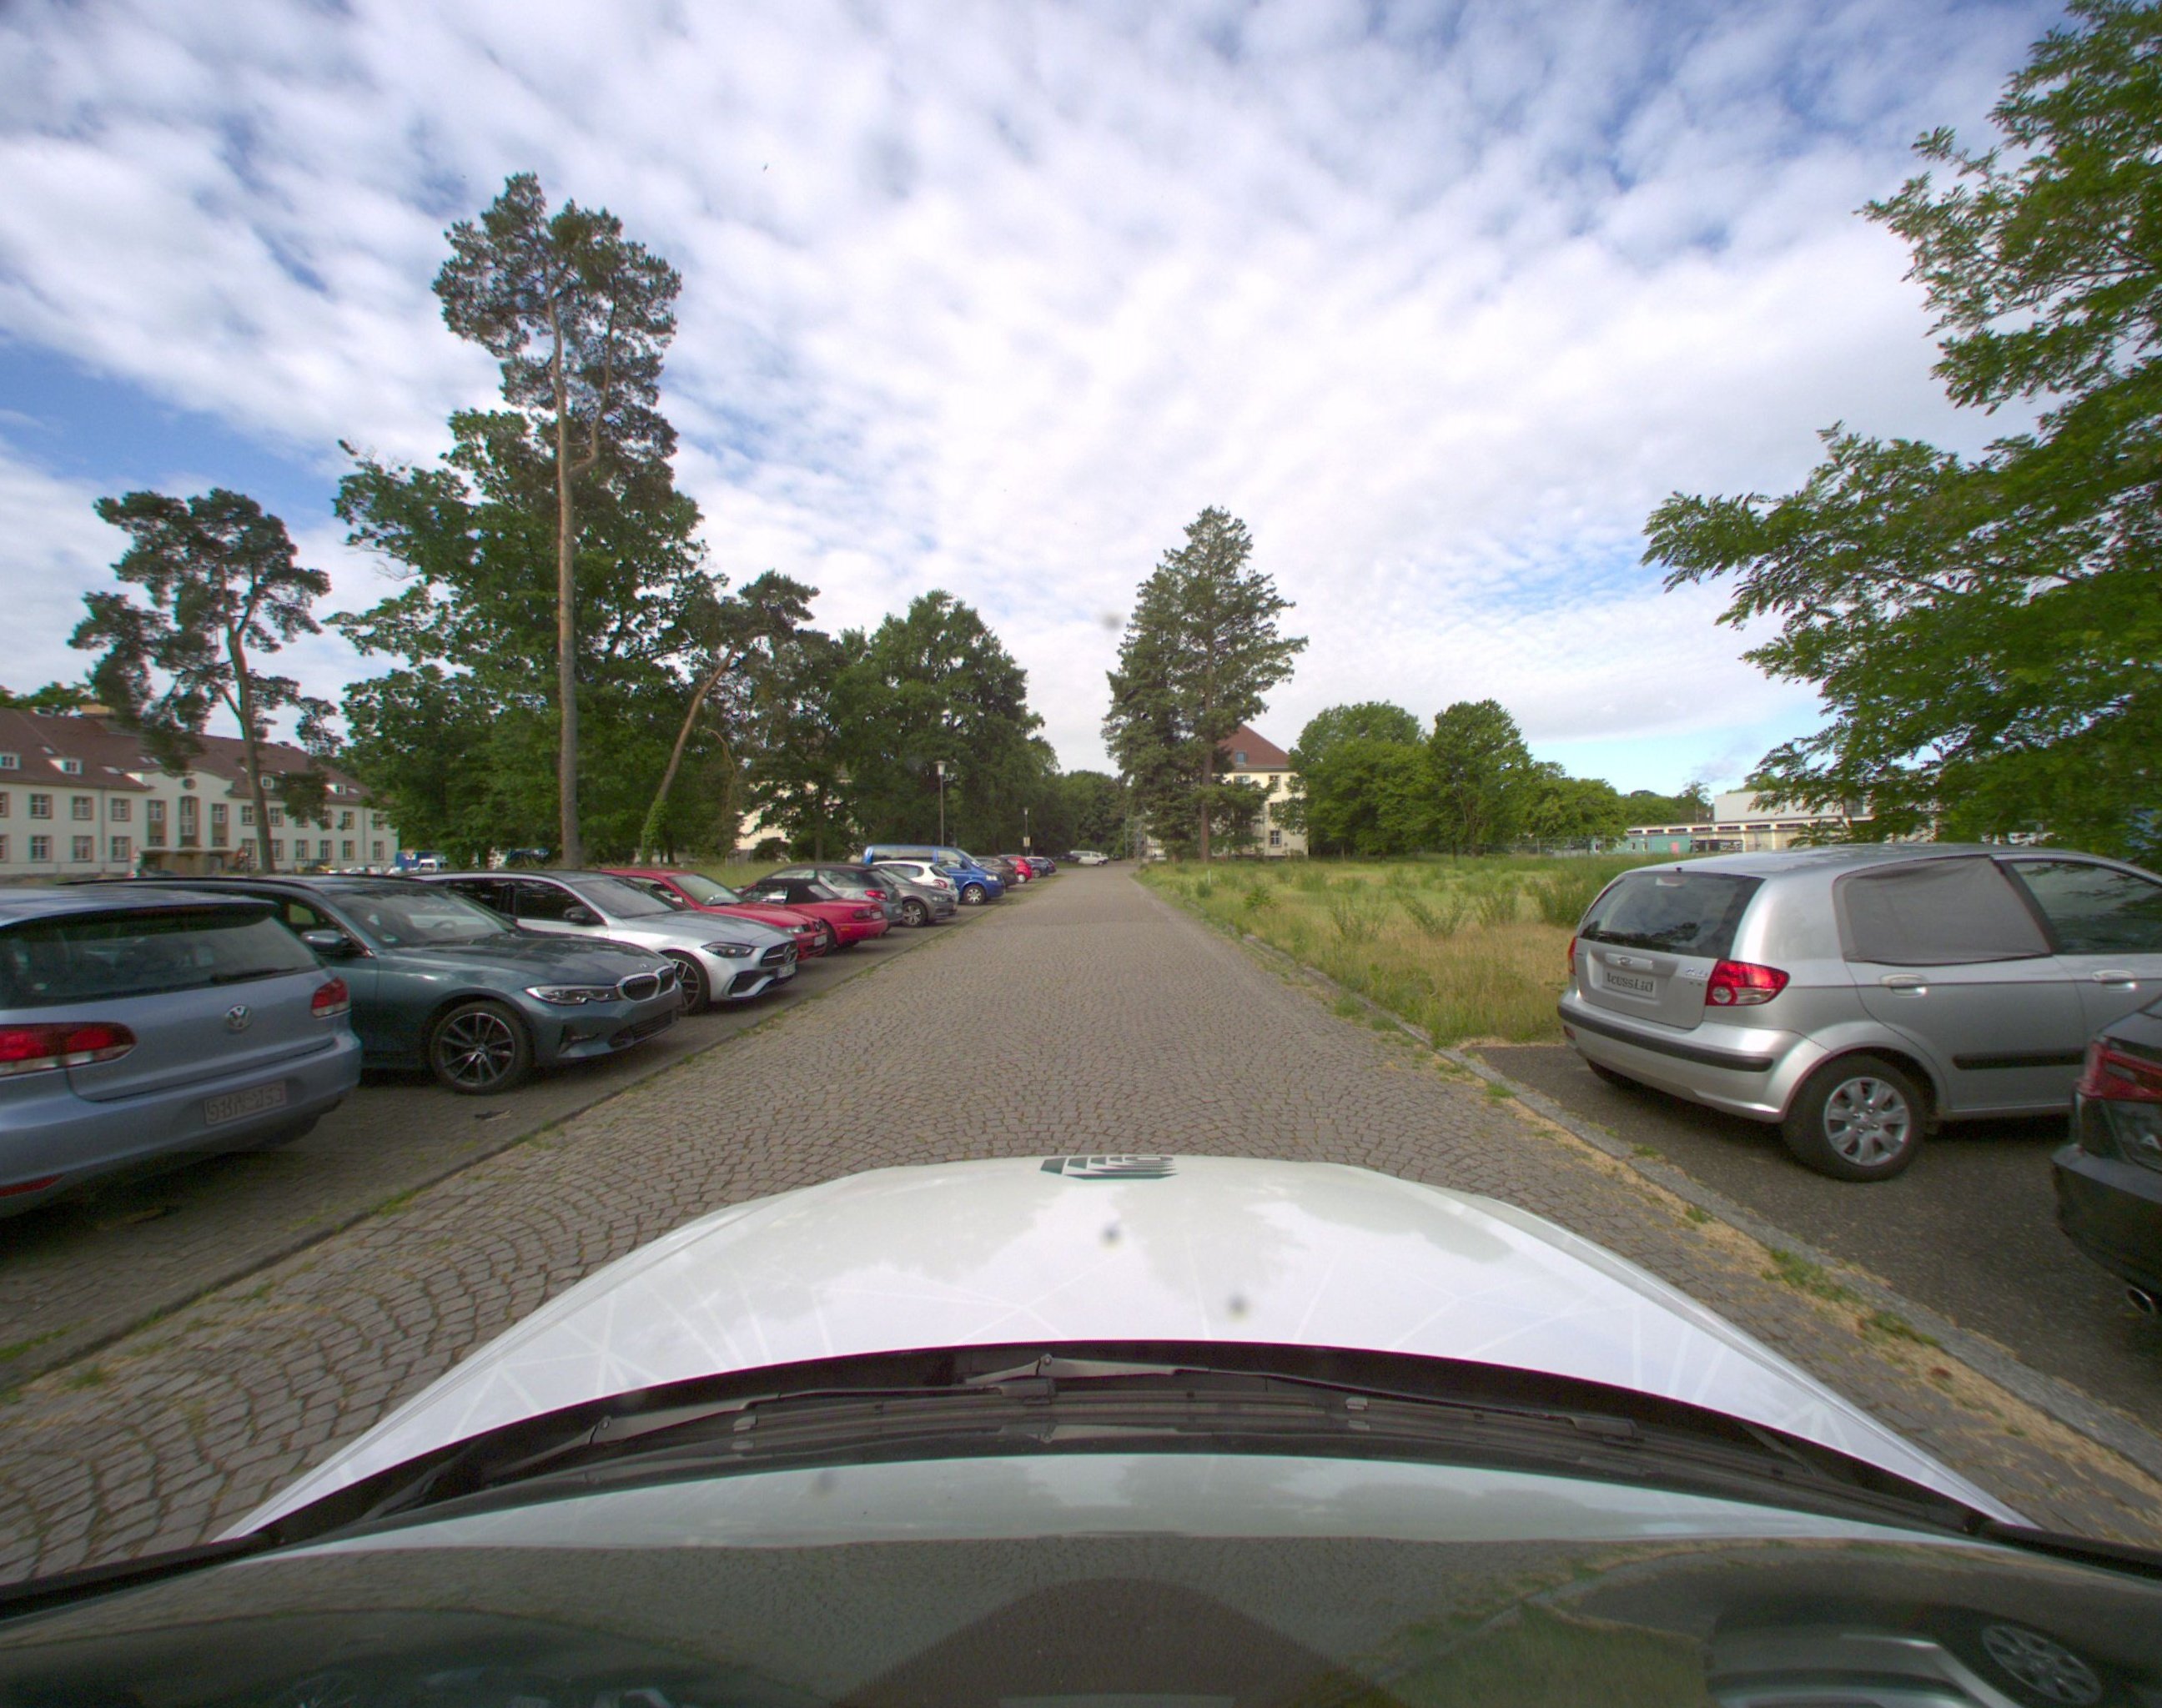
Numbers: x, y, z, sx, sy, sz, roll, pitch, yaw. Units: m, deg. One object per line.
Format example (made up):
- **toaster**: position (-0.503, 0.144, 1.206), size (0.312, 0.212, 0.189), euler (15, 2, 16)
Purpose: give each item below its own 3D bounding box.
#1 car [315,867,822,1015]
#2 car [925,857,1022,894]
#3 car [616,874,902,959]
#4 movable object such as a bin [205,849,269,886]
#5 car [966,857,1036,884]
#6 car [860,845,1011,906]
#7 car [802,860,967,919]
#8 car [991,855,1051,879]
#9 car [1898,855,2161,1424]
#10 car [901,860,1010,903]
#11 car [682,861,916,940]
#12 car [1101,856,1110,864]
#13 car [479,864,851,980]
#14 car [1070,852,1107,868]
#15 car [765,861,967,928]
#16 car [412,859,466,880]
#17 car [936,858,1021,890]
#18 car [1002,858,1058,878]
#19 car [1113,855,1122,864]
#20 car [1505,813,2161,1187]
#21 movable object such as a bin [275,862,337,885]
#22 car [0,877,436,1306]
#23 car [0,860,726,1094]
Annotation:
- **car**: position (-5.446, 0.889, 9.110), size (4.420, 1.455, 1.950), euler (0, -1, 1)
- **car**: position (-4.738, 0.935, 36.402), size (4.055, 1.575, 1.954), euler (0, 0, 0)
- **car**: position (-5.312, 1.011, 13.801), size (4.116, 1.283, 1.764), euler (0, 0, 1)
- **movable object such as a bin**: position (-87.951, 1.419, 84.856), size (6.066, 3.642, 2.151), euler (-2, -2, 18)
- **car**: position (-4.566, 0.954, 46.718), size (3.803, 1.489, 1.787), euler (0, 0, 0)
- **car**: position (-4.831, 0.703, 27.531), size (4.694, 1.980, 2.038), euler (0, 0, 0)
- **car**: position (-5.289, 0.933, 22.234), size (3.989, 1.501, 1.844), euler (0, 0, 2)
- **car**: position (-4.152, 0.914, 56.966), size (4.059, 1.604, 1.787), euler (0, 0, -1)
- **car**: position (4.919, 0.640, 1.843), size (4.353, 1.406, 1.796), euler (-3, 1, -1)
- **car**: position (-4.577, 0.981, 30.114), size (3.783, 1.493, 1.725), euler (0, 0, -2)
- **car**: position (-5.596, 0.908, 16.487), size (4.072, 1.480, 1.756), euler (0, 0, 2)
- **car**: position (5.300, 1.296, 176.597), size (1.784, 1.636, 4.060), euler (-1, -2, 0)
- **car**: position (-5.626, 0.888, 11.422), size (4.239, 1.455, 1.856), euler (0, 0, 1)
- **car**: position (1.041, 0.779, 110.591), size (4.962, 2.073, 2.051), euler (0, -2, 0)
- **car**: position (-5.016, 0.928, 19.364), size (4.287, 1.480, 1.732), euler (0, 0, 2)
- **car**: position (-66.698, 1.638, 84.709), size (2.054, 2.095, 4.345), euler (-2, -2, 1)
- **car**: position (-4.878, 0.932, 39.192), size (3.802, 1.486, 1.762), euler (0, 0, 1)
- **car**: position (-3.835, 1.076, 61.660), size (4.052, 1.467, 1.628), euler (0, 0, 4)
- **car**: position (7.922, 1.219, 176.887), size (1.784, 1.720, 4.060), euler (-1, -2, 0)
- **car**: position (4.714, 0.611, 4.547), size (3.762, 1.479, 1.742), euler (-3, 1, -2)
- **movable object such as a bin**: position (-82.071, 2.056, 86.258), size (4.484, 2.254, 2.383), euler (-1, -2, 6)
- **car**: position (-5.886, 0.866, 3.801), size (4.312, 1.470, 1.828), euler (0, -1, 2)
- **car**: position (-5.476, 0.830, 6.425), size (4.490, 1.537, 1.869), euler (0, -1, -2)
